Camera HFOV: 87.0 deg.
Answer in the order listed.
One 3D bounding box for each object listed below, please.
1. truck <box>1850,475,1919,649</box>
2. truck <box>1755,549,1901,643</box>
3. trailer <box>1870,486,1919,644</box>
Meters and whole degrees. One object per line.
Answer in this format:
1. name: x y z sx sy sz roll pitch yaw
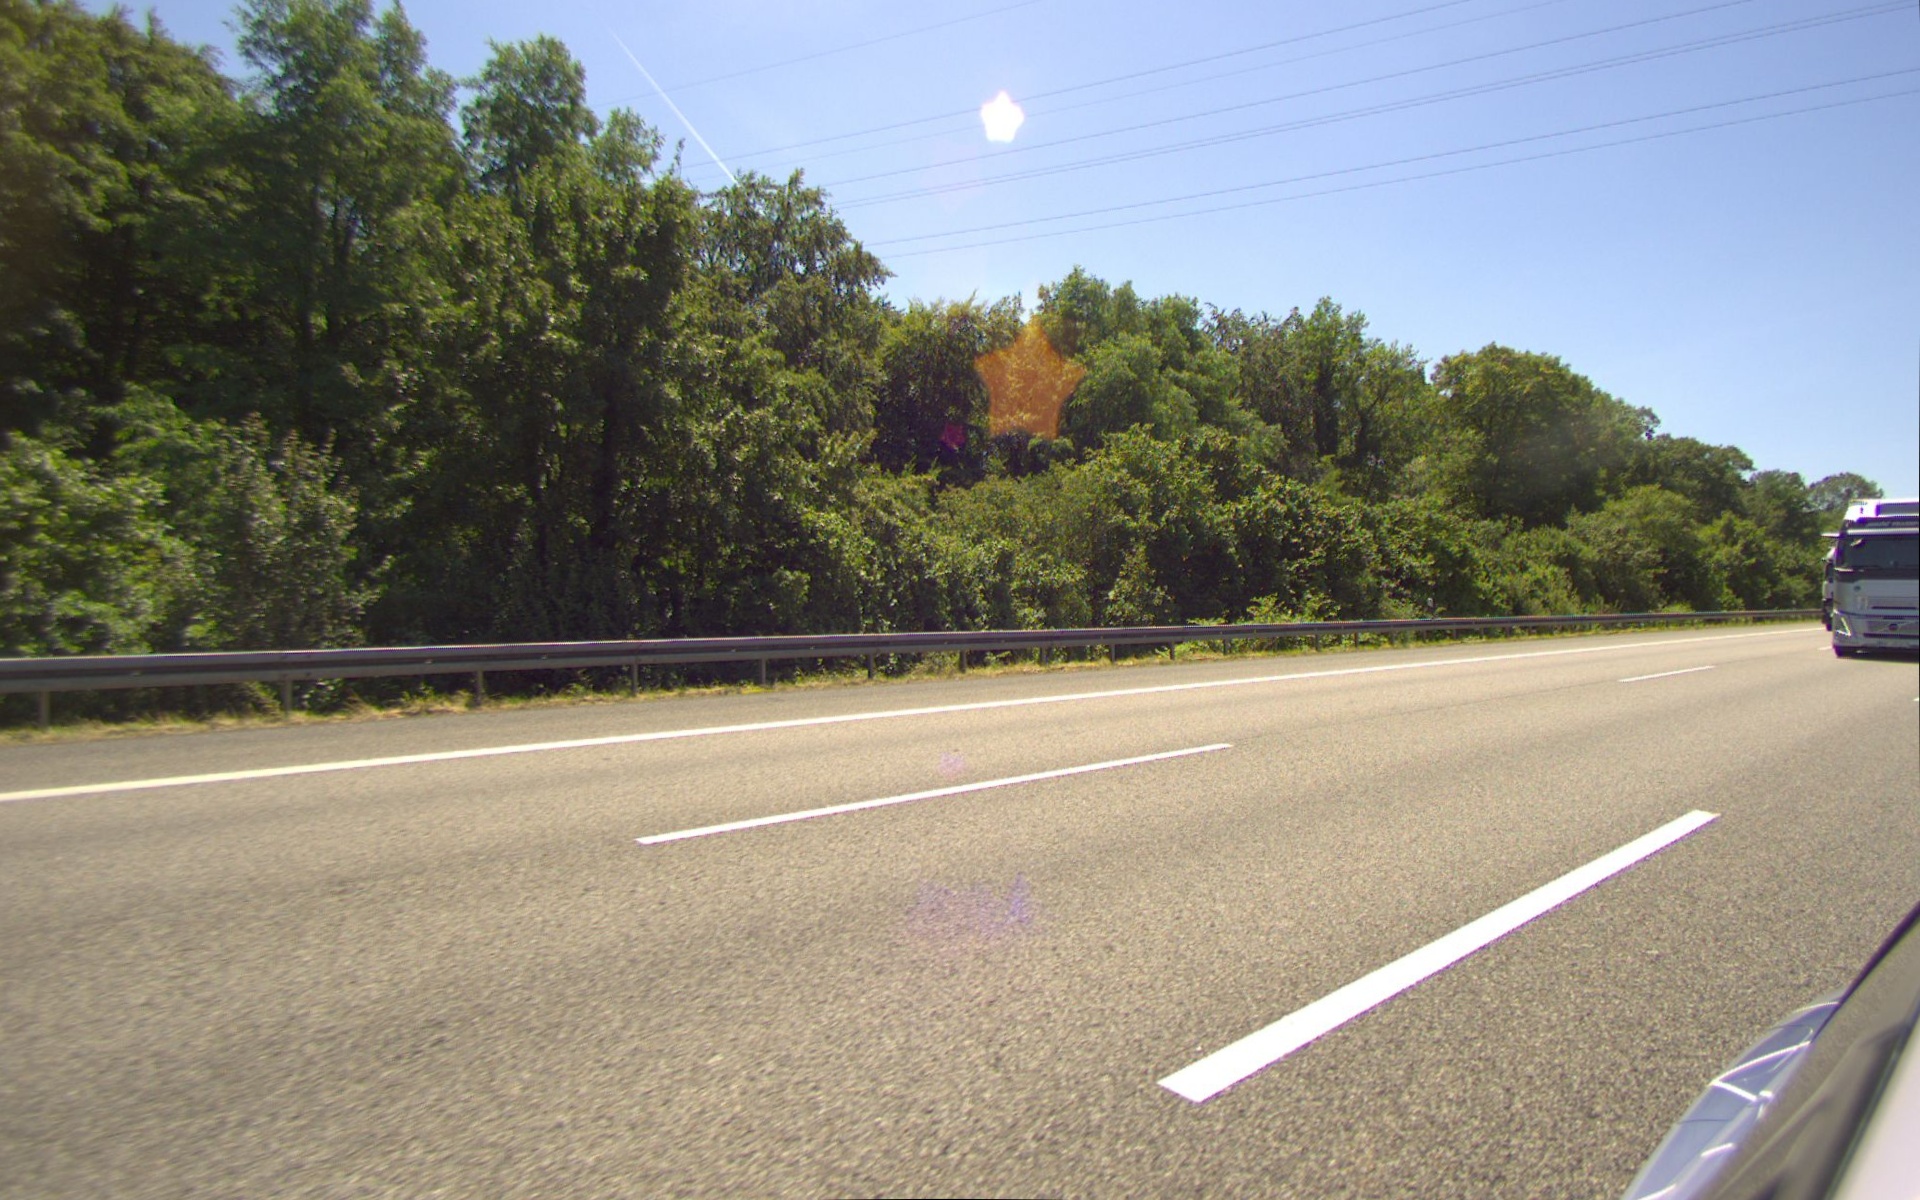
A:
1. truck: 24.788 -0.894 25.520 6.388 4.025 2.727 0 0 -41
2. truck: 42.041 -0.316 48.735 14.197 4.020 3.048 -1 1 -40
3. trailer: 29.691 -0.925 29.881 13.418 4.025 2.744 0 0 -42
